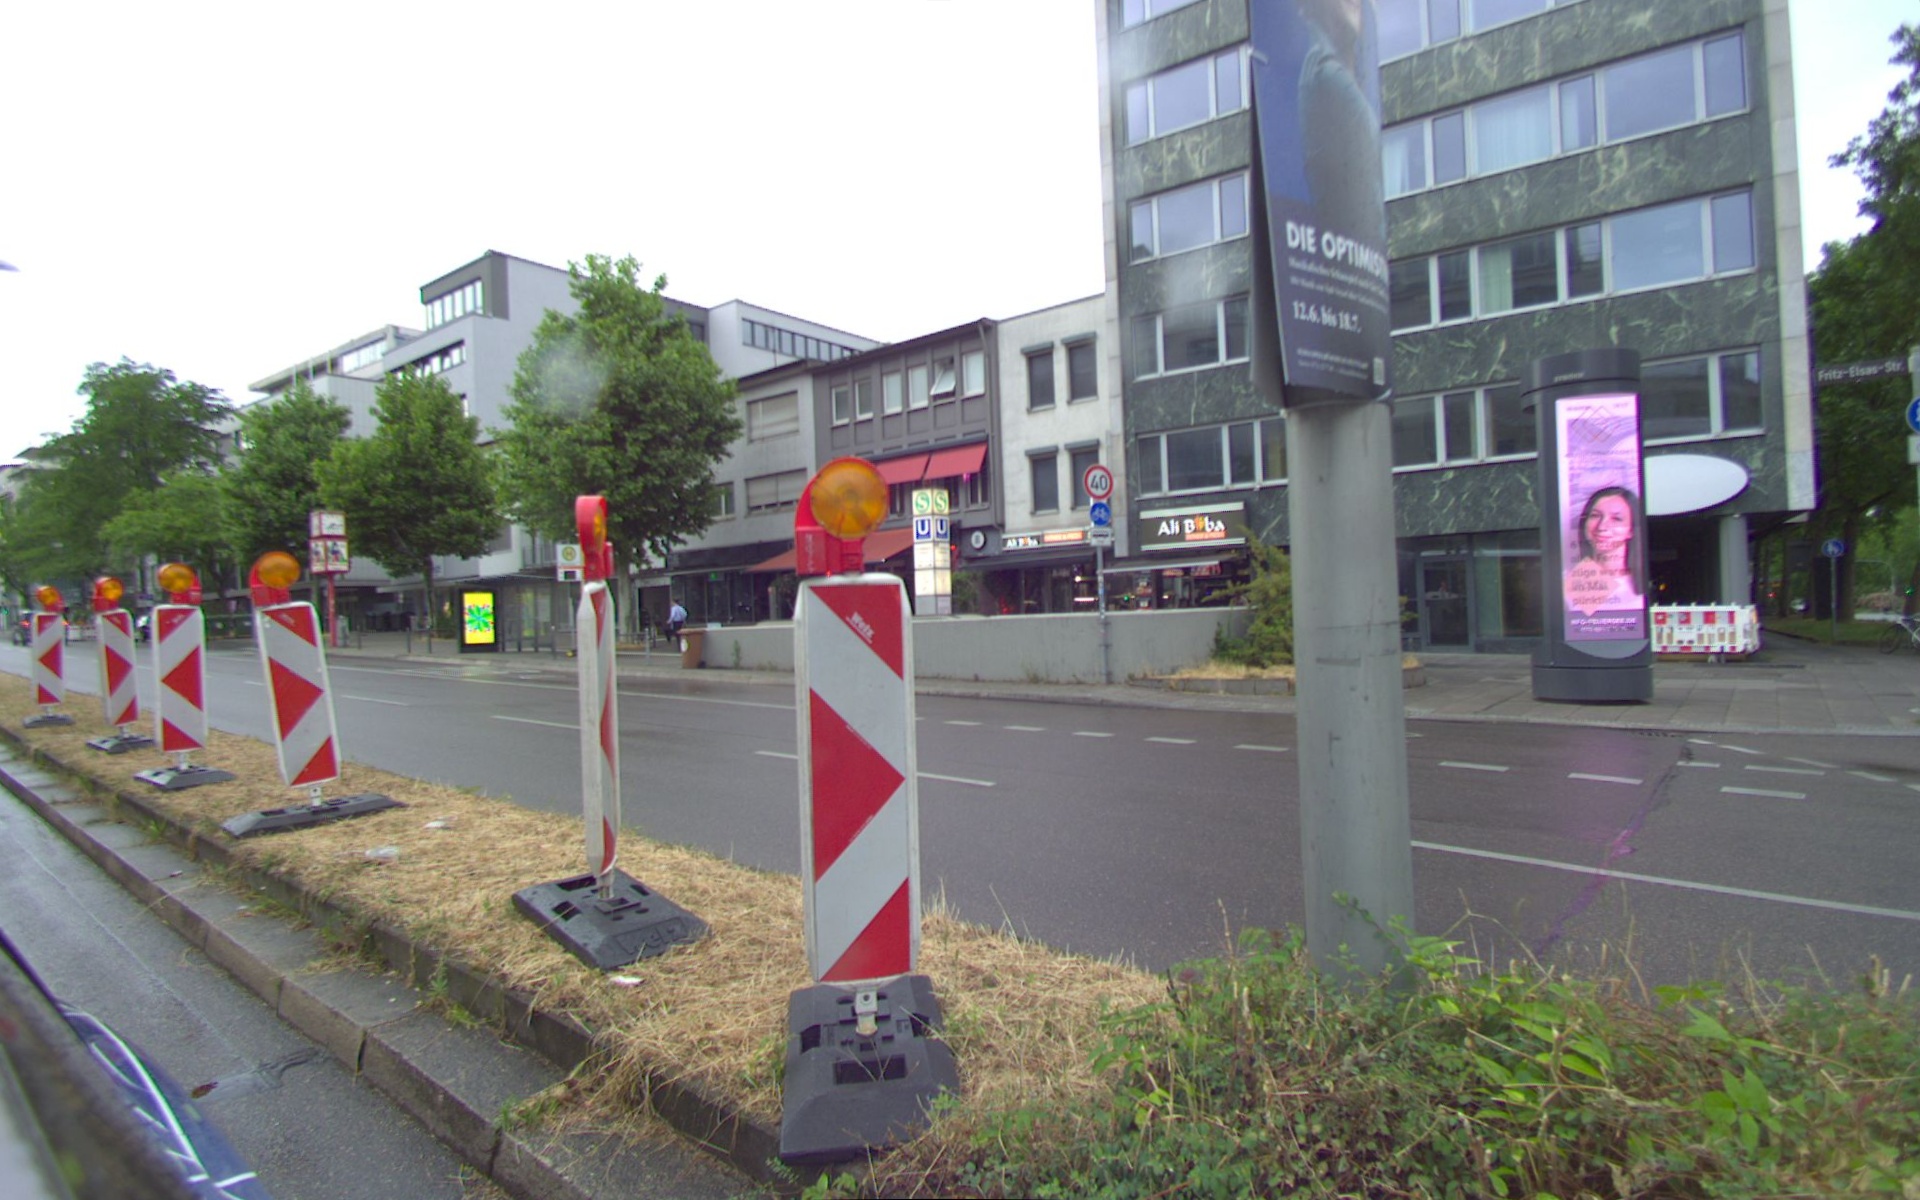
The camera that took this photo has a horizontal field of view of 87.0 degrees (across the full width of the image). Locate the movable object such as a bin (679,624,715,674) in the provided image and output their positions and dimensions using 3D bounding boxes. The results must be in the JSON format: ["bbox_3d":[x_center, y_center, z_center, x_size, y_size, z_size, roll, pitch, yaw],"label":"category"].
[{"bbox_3d":[-6.100,1.130,23.451,0.660,1.109,0.501,-1,0,39],"label":"movable object such as a bin"}]

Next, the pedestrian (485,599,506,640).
[{"bbox_3d":[-23.078,0.967,50.301,0.764,2.029,0.768,-1,0,-41],"label":"pedestrian"}]

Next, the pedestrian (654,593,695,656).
[{"bbox_3d":[-9.374,0.785,33.194,0.943,2.029,0.910,-1,0,41],"label":"pedestrian"}]

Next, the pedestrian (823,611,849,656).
[{"bbox_3d":[-4.354,1.175,35.482,0.611,1.540,0.660,-2,-1,44],"label":"pedestrian"}]

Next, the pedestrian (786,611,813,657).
[{"bbox_3d":[-5.438,1.139,34.309,0.611,1.540,0.660,-2,-1,44],"label":"pedestrian"}]

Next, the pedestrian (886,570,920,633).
[{"bbox_3d":[-1.698,0.052,30.053,0.791,1.837,0.603,-1,0,36],"label":"pedestrian"}]

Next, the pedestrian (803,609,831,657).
[{"bbox_3d":[-4.772,1.093,33.705,0.611,1.540,0.660,-2,-1,44],"label":"pedestrian"}]

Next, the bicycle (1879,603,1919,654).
[{"bbox_3d":[20.769,0.599,21.482,1.780,1.060,0.579,-1,-1,37],"label":"bicycle"}]

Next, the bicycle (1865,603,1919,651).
[{"bbox_3d":[21.264,0.593,22.390,1.780,1.060,0.579,-1,-1,37],"label":"bicycle"}]

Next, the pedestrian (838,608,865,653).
[{"bbox_3d":[-3.754,1.042,35.017,0.611,1.540,0.660,-2,-1,44],"label":"pedestrian"}]

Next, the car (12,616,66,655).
[{"bbox_3d":[-50.229,1.900,55.168,1.970,1.942,4.969,1,0,-44],"label":"car"}]
